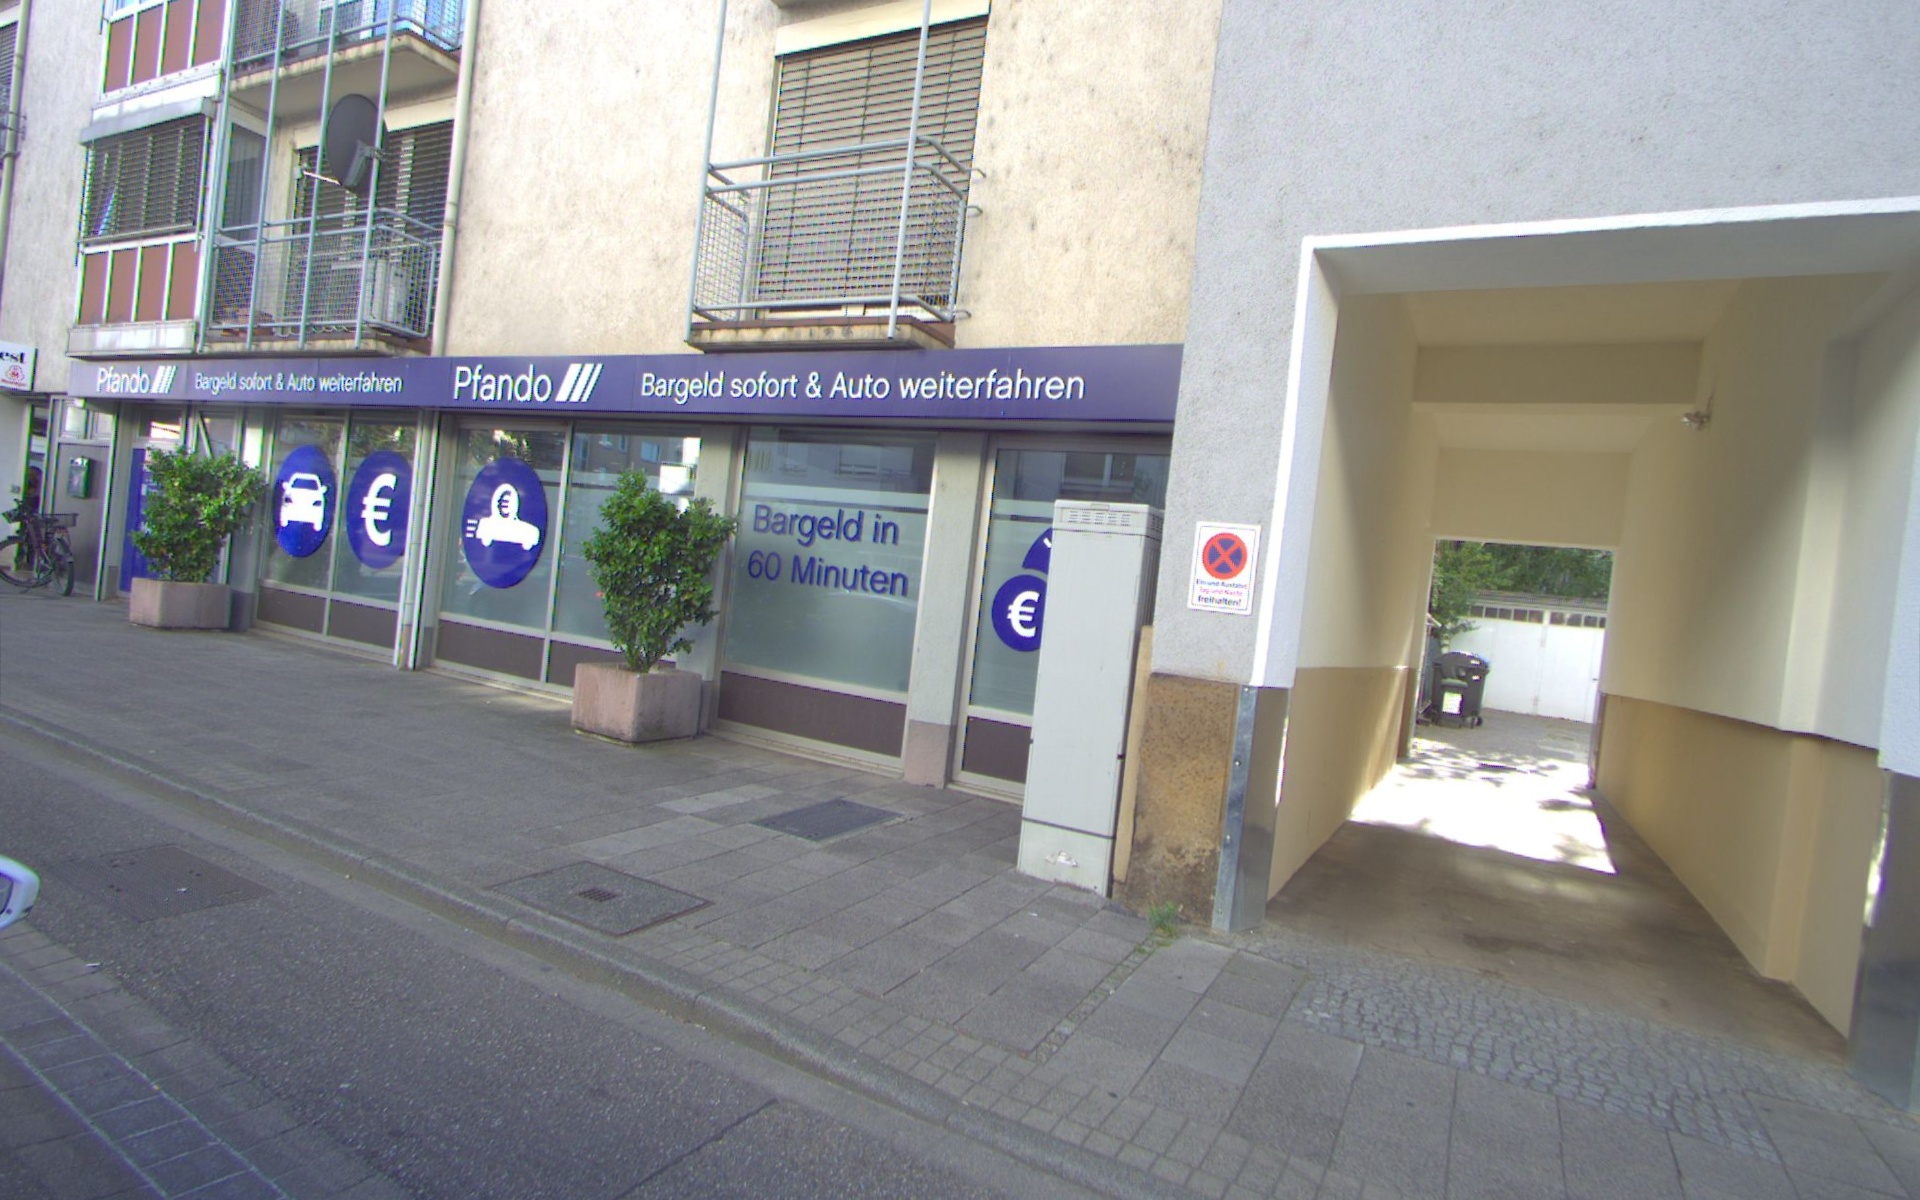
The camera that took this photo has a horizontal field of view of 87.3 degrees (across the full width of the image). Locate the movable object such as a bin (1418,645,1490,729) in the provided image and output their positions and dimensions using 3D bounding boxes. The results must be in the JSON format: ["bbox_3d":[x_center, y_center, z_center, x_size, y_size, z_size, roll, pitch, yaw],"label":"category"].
[{"bbox_3d":[10.028,1.771,20.392,1.092,1.511,1.329,6,-2,30],"label":"movable object such as a bin"}]

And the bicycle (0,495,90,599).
[{"bbox_3d":[-11.875,-0.700,12.855,1.747,1.176,0.497,6,0,29],"label":"bicycle"}]

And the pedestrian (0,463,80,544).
[{"bbox_3d":[-14.195,-1.470,15.478,0.667,1.102,0.624,7,2,-5],"label":"pedestrian"}]
